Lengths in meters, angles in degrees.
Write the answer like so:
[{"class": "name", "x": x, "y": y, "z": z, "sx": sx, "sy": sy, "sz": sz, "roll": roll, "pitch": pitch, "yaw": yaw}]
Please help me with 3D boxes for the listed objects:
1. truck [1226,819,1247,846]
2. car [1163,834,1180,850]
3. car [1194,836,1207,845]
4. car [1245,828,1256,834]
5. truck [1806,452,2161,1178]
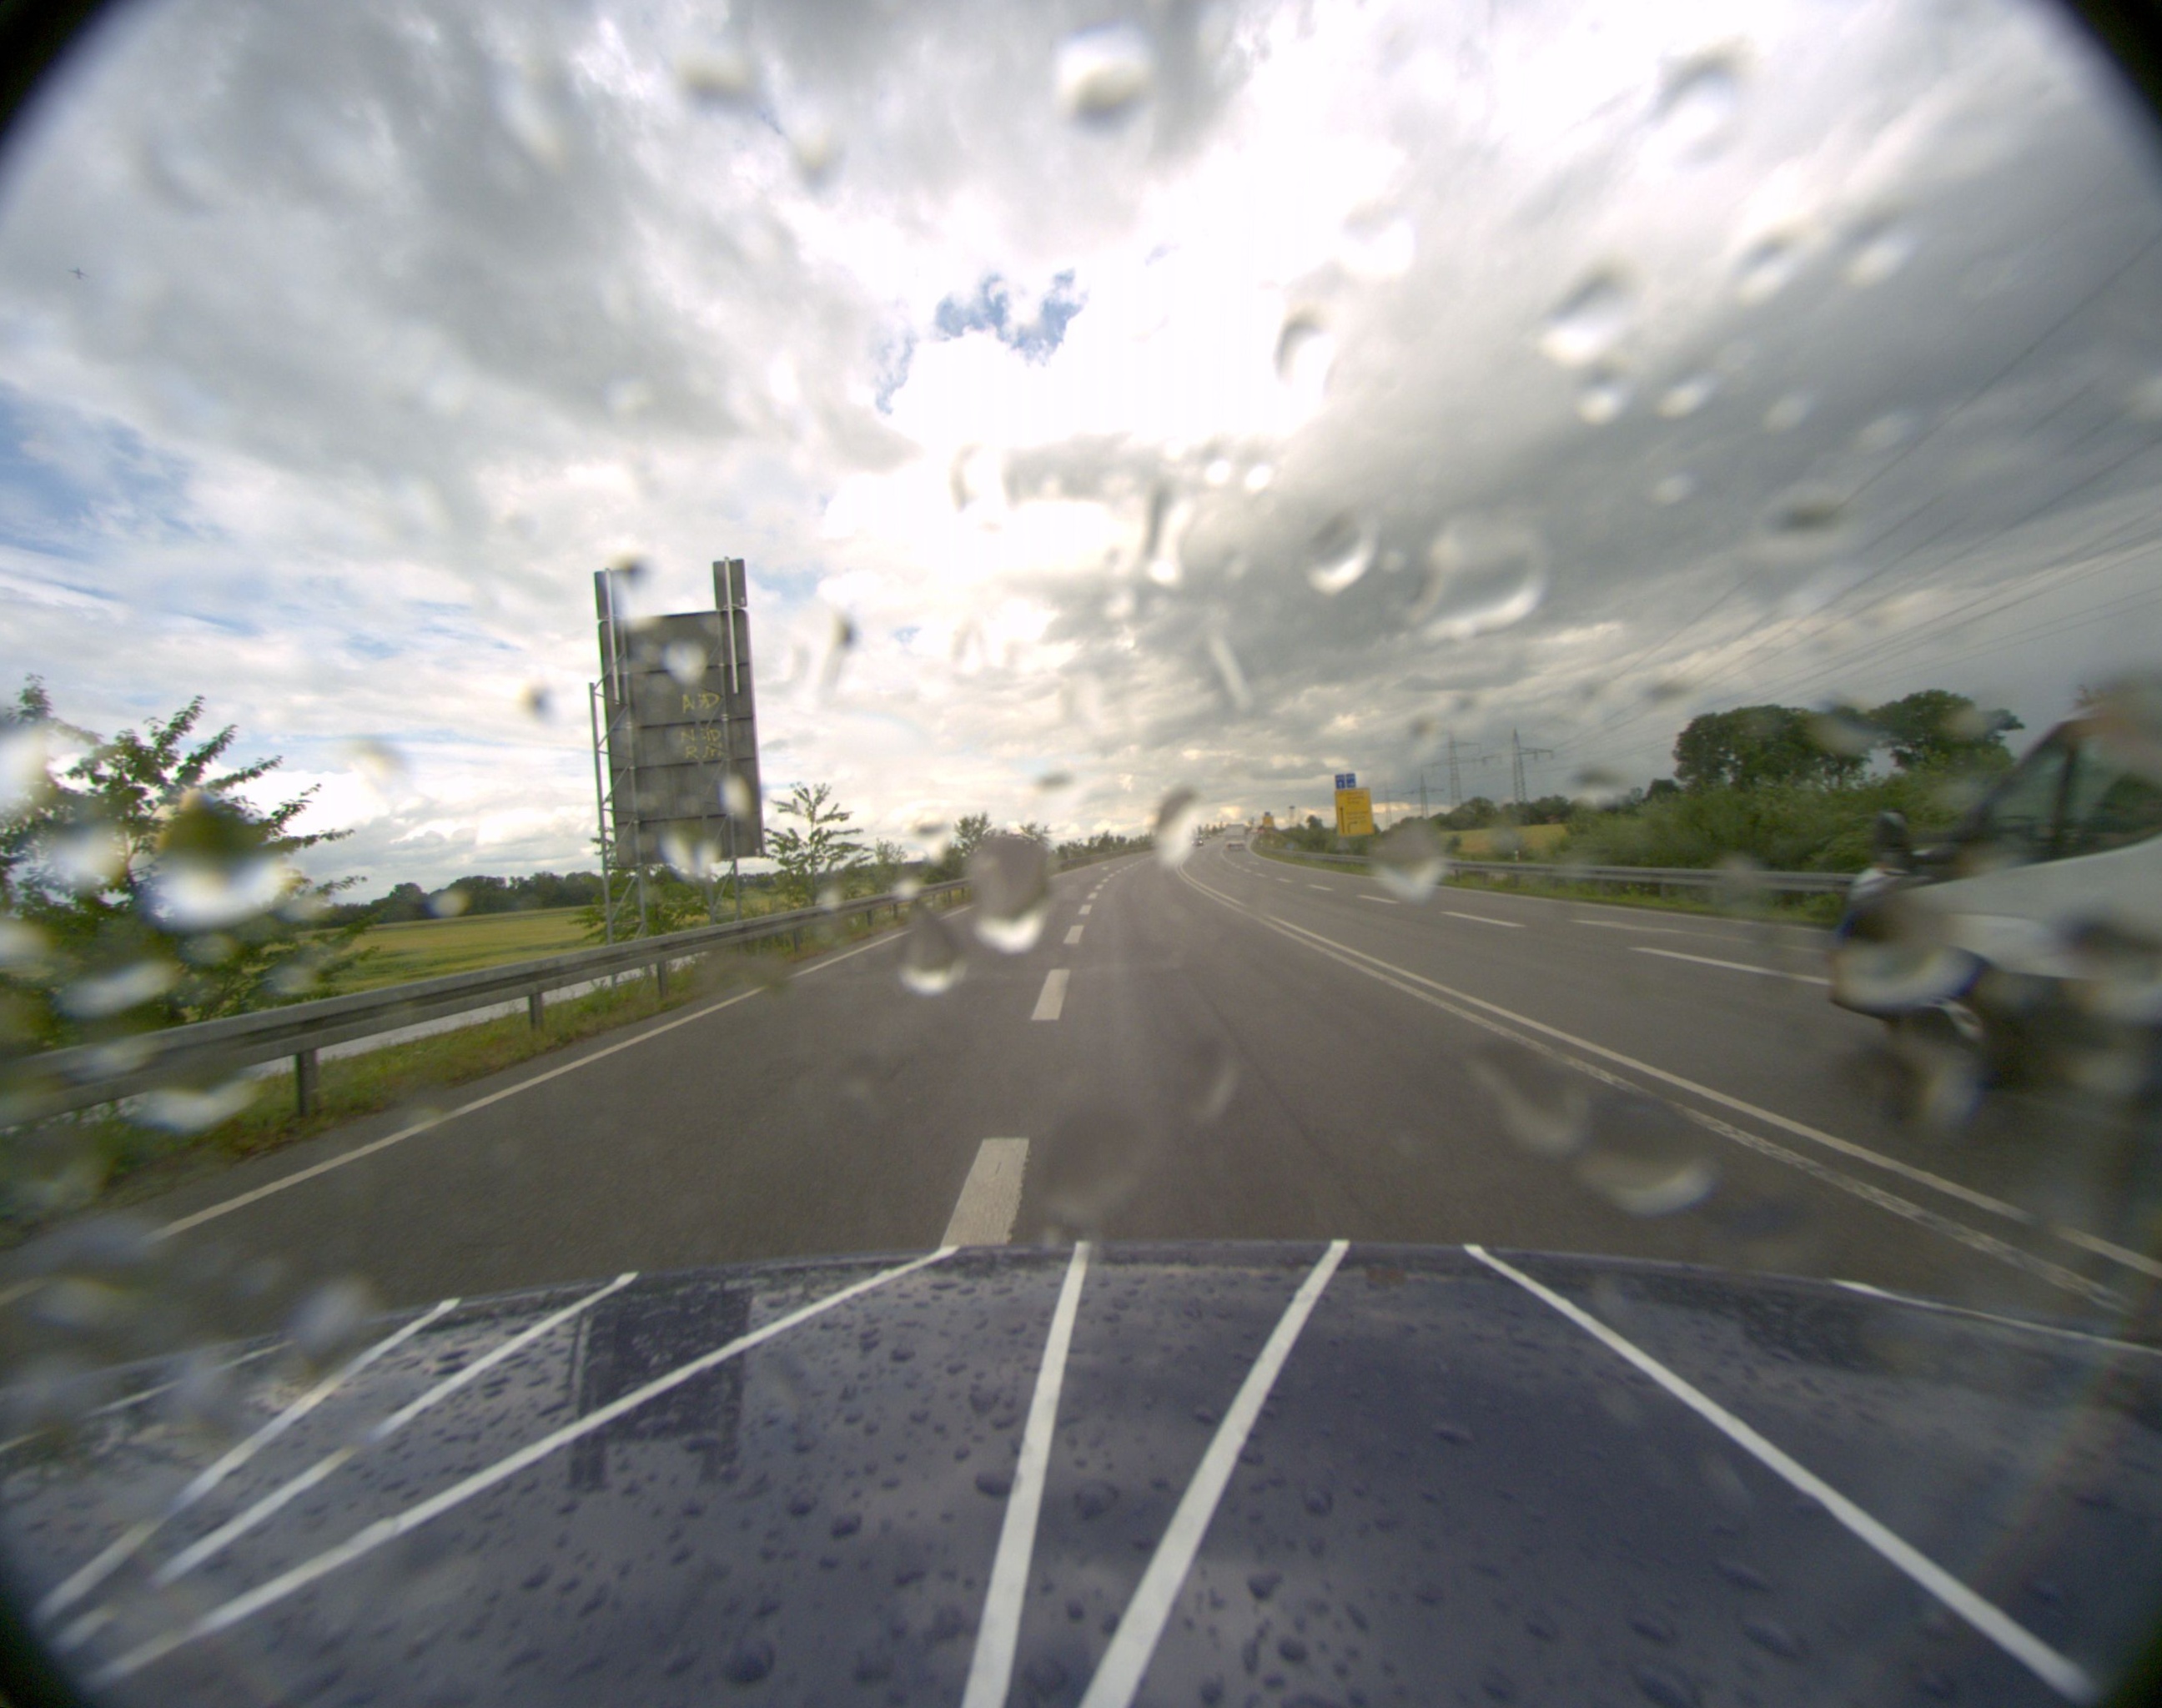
[{"class": "truck", "x": 19.936, "y": -2.761, "z": 97.430, "sx": 2.485, "sy": 3.273, "sz": 7.286, "roll": -1, "pitch": 1, "yaw": 11}, {"class": "car", "x": 10.986, "y": -1.483, "z": 91.774, "sx": 1.795, "sy": 1.758, "sz": 4.003, "roll": -4, "pitch": 0, "yaw": 9}, {"class": "car", "x": 20.778, "y": -2.367, "z": 131.835, "sx": 1.747, "sy": 1.488, "sz": 4.054, "roll": -4, "pitch": 0, "yaw": 15}, {"class": "car", "x": 41.480, "y": -5.676, "z": 185.656, "sx": 1.898, "sy": 1.433, "sz": 4.906, "roll": -2, "pitch": 2, "yaw": 21}, {"class": "truck", "x": 5.753, "y": -0.166, "z": 1.554, "sx": 2.261, "sy": 3.137, "sz": 6.689, "roll": -2, "pitch": 1, "yaw": 1}]
